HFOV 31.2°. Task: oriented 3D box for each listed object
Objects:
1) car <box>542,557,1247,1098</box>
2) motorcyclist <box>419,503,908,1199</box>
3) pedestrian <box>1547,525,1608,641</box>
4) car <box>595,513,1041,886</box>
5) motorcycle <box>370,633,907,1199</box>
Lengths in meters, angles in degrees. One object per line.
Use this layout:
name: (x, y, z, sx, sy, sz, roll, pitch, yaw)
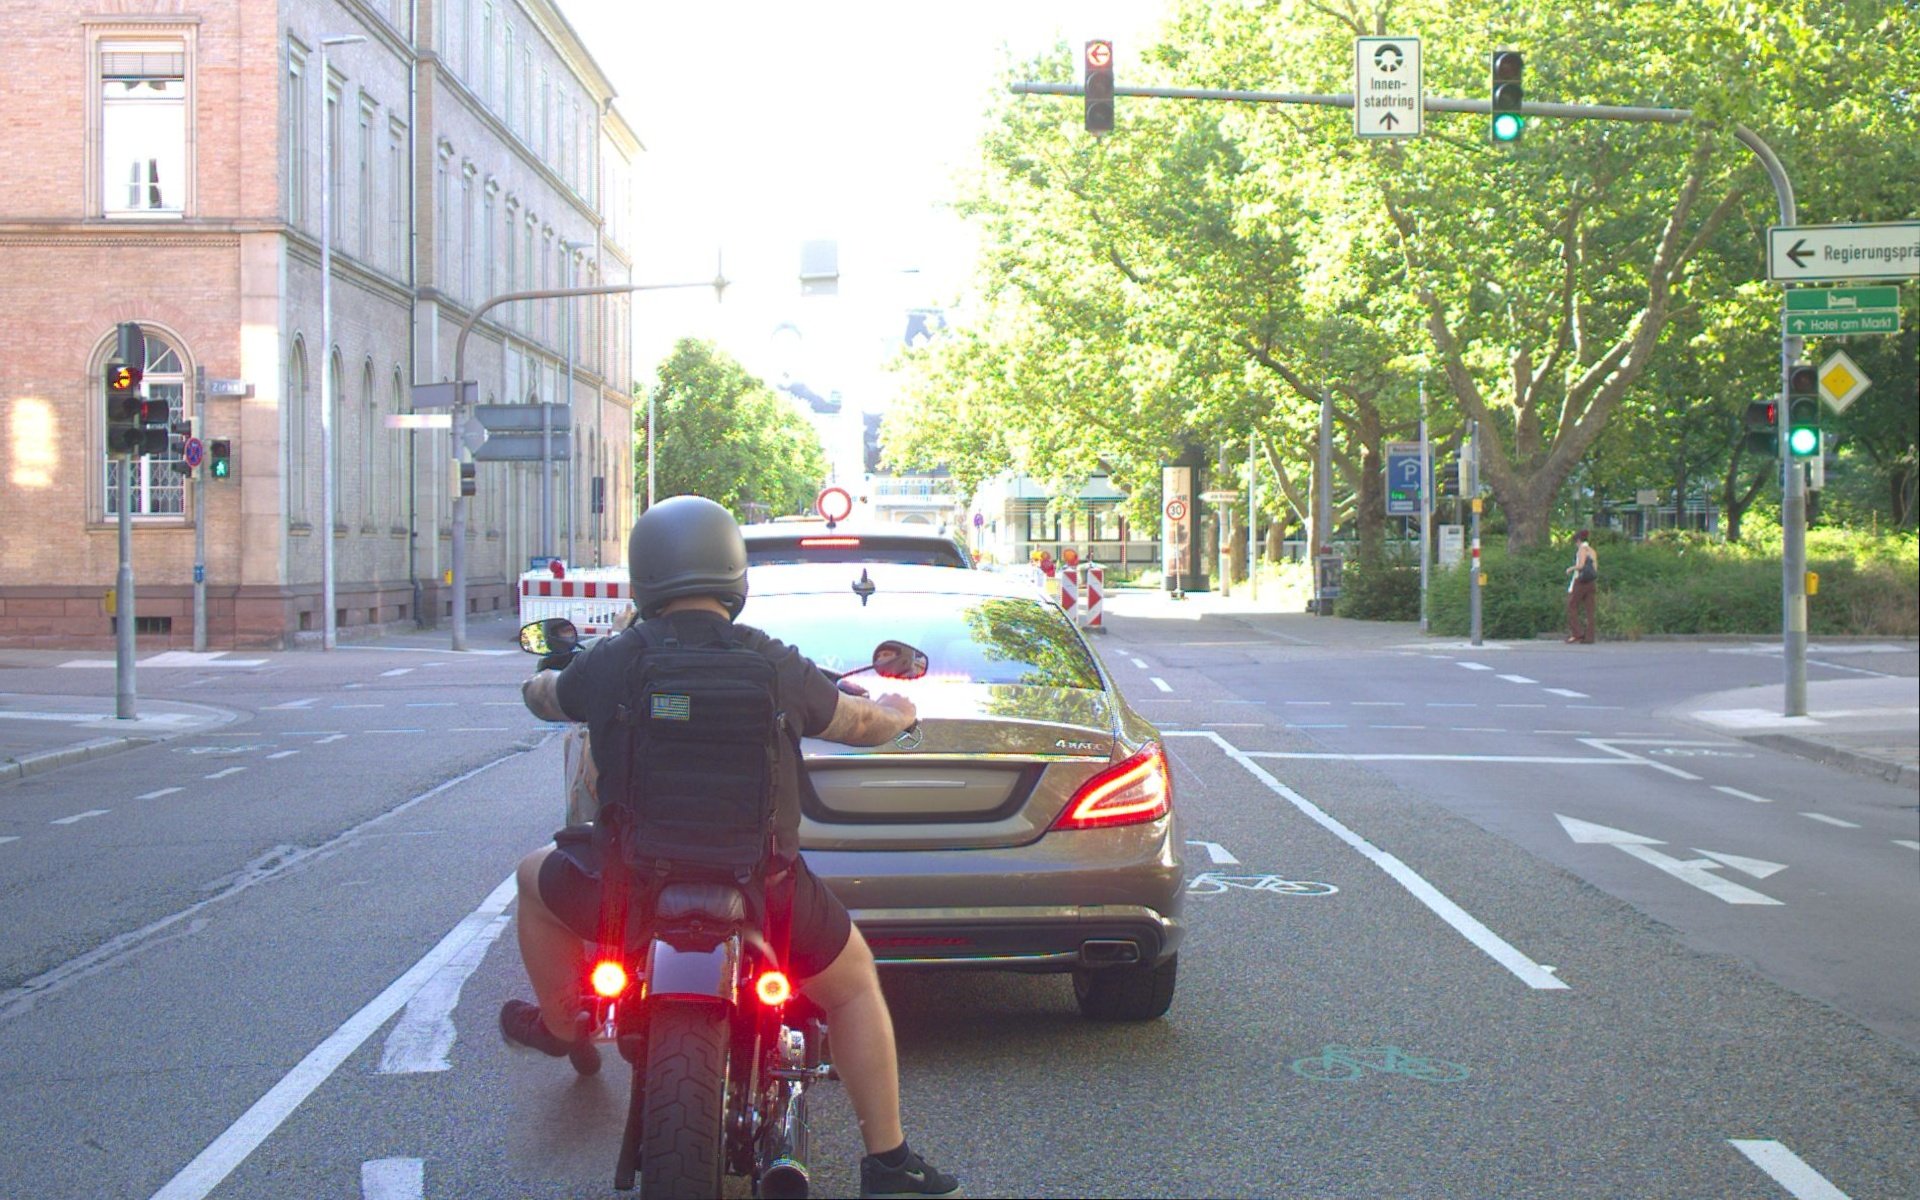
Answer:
car: (-0.433, 0.589, 11.627, 1.869, 1.439, 4.431, 0, 1, -8)
motorcyclist: (-0.607, 0.579, 7.562, 0.980, 1.573, 1.248, 0, 1, -1)
pedestrian: (9.524, -0.267, 53.001, 0.679, 1.766, 0.615, 1, 1, 42)
car: (-0.666, 0.431, 17.549, 1.993, 1.660, 4.000, 1, 1, -1)
motorcycle: (-0.613, 0.741, 7.569, 0.980, 1.271, 2.407, 0, 1, -1)
